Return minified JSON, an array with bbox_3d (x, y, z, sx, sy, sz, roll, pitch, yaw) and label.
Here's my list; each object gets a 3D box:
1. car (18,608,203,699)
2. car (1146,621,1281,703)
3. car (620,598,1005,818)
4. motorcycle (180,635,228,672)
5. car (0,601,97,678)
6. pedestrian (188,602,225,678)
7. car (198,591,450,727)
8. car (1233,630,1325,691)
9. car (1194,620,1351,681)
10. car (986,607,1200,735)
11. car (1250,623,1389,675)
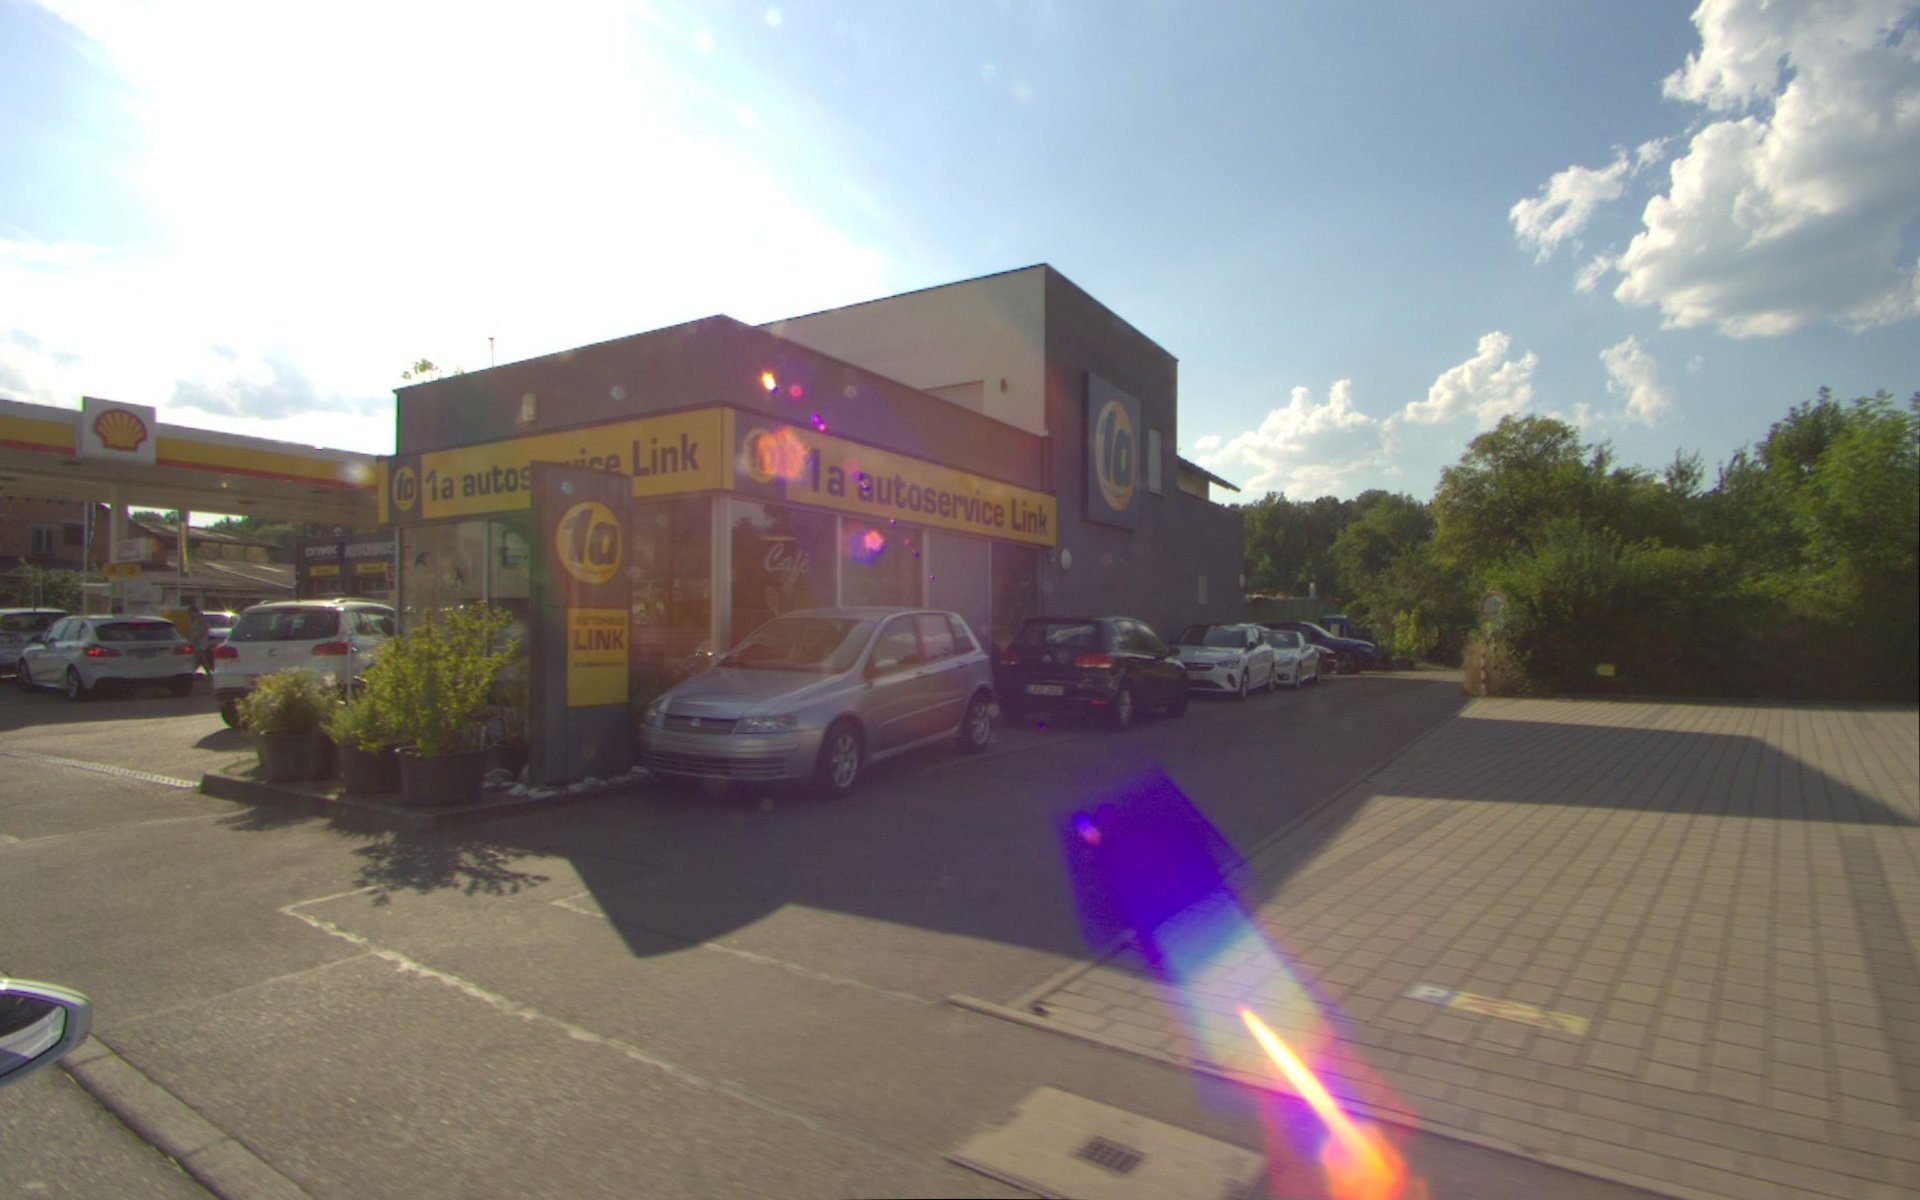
[{"bbox_3d":[-16.683,0.971,19.624,3.940,1.598,1.669,0,0,32],"label":"car"},{"bbox_3d":[5.174,1.172,20.100,1.690,1.427,3.902,2,-1,28],"label":"car"},{"bbox_3d":[-1.077,0.809,9.204,1.503,1.551,3.987,0,-1,26],"label":"car"},{"bbox_3d":[-18.636,1.300,24.685,1.787,0.885,0.392,-1,-1,34],"label":"motorcycle"},{"bbox_3d":[-21.243,0.836,22.553,3.940,1.598,1.669,0,0,32],"label":"car"},{"bbox_3d":[-17.080,0.899,22.691,0.526,1.691,0.499,0,-1,32],"label":"pedestrian"},{"bbox_3d":[-9.047,0.739,14.664,1.646,1.697,4.074,-1,0,-10],"label":"car"},{"bbox_3d":[7.608,1.367,23.686,1.377,1.278,3.753,2,-1,28],"label":"car"},{"bbox_3d":[8.404,1.321,26.973,3.753,1.417,1.661,2,0,29],"label":"car"},{"bbox_3d":[2.013,0.913,14.159,1.690,1.487,3.902,2,-1,28],"label":"car"},{"bbox_3d":[11.461,1.523,31.971,3.919,1.417,1.661,2,0,29],"label":"car"}]
